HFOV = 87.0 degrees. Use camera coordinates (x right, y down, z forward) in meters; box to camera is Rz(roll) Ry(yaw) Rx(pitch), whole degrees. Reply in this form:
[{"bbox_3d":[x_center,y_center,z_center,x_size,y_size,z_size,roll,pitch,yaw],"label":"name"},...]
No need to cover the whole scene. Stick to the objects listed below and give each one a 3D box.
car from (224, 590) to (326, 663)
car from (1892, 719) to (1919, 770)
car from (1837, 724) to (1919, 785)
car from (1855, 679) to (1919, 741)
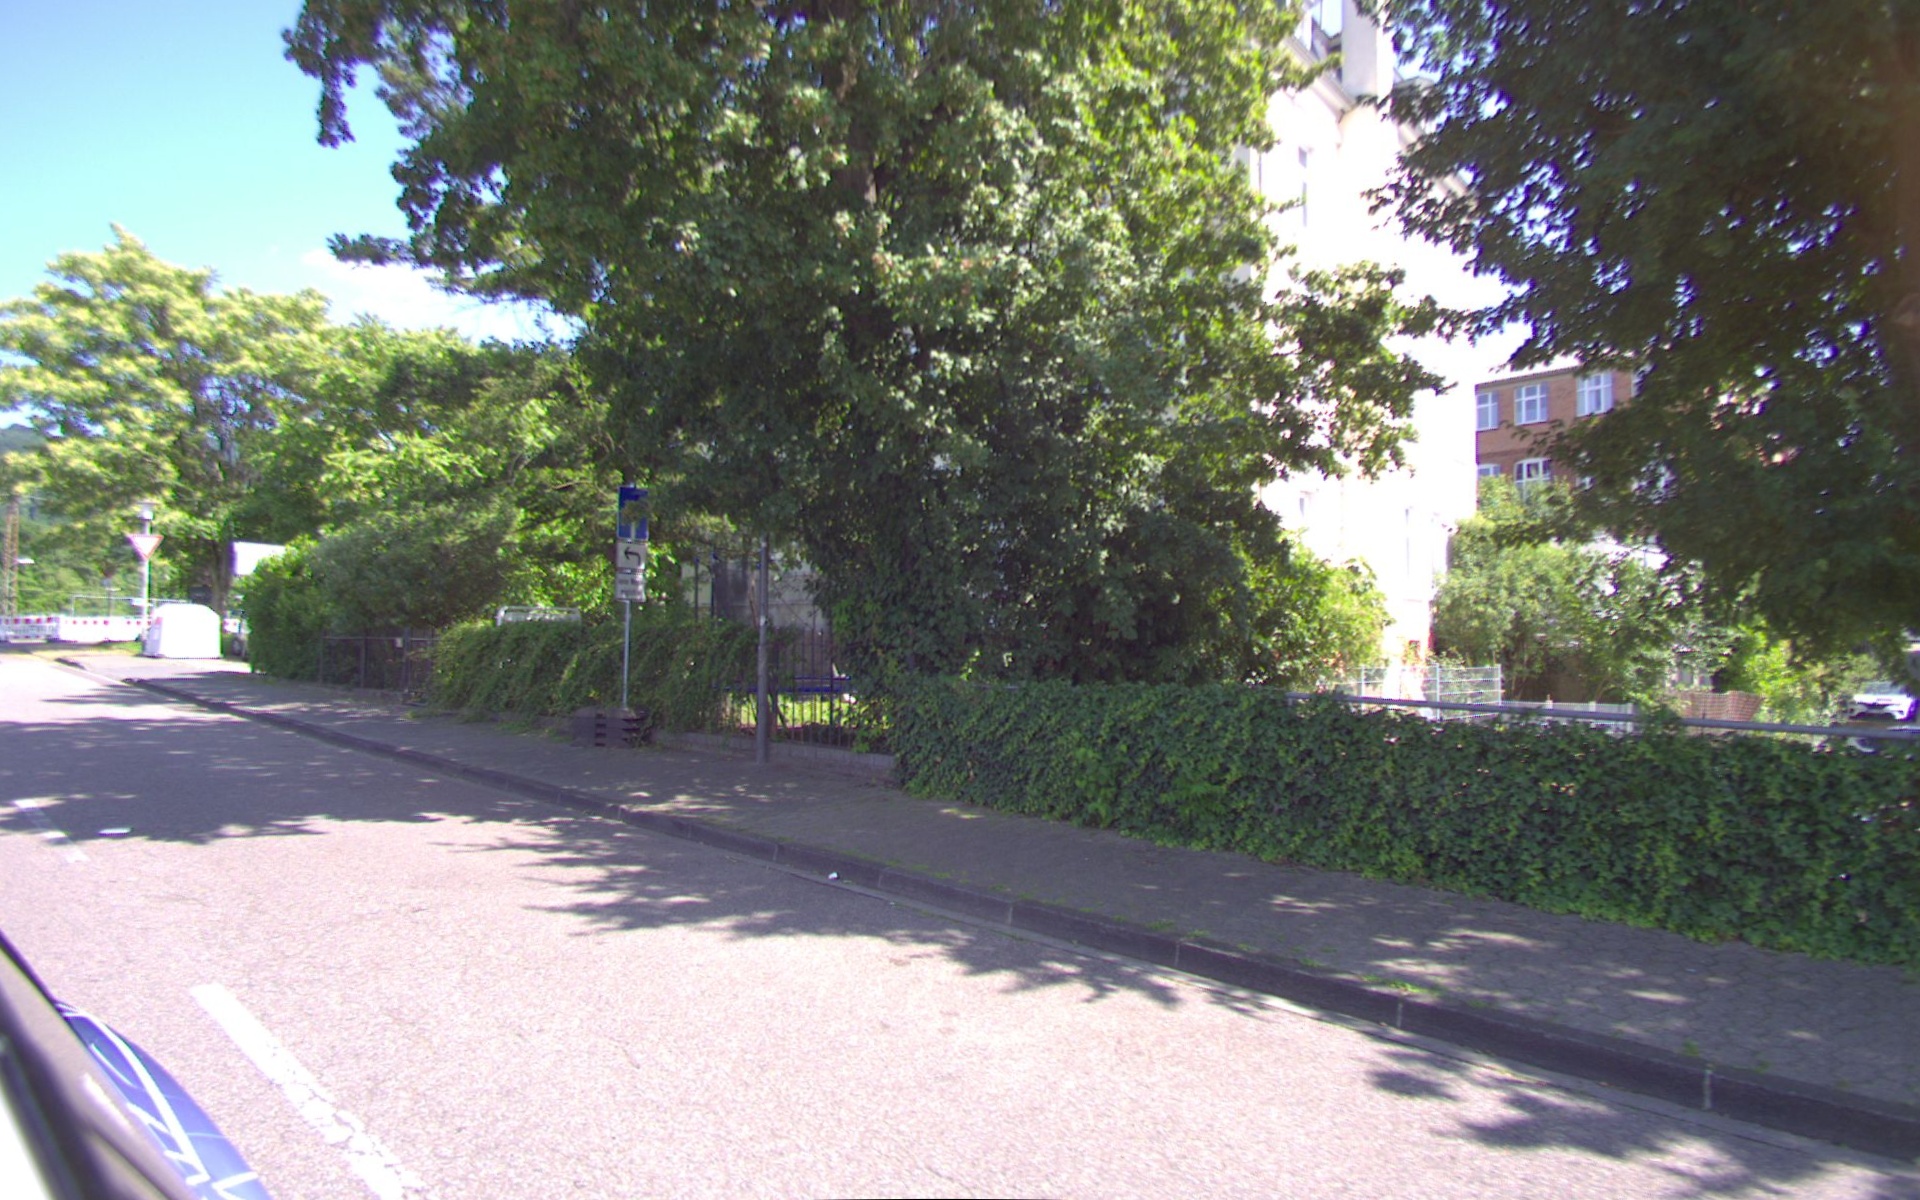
[{"bbox_3d":[-21.033,0.759,30.978,1.968,1.945,5.109,5,-2,-40],"label":"car"},{"bbox_3d":[34.082,4.900,33.427,1.794,1.690,4.609,5,-5,-40],"label":"car"},{"bbox_3d":[30.030,4.794,30.948,1.794,1.690,4.609,5,-5,-40],"label":"car"},{"bbox_3d":[36.509,4.206,39.121,4.529,1.690,2.120,-4,2,-39],"label":"car"}]
